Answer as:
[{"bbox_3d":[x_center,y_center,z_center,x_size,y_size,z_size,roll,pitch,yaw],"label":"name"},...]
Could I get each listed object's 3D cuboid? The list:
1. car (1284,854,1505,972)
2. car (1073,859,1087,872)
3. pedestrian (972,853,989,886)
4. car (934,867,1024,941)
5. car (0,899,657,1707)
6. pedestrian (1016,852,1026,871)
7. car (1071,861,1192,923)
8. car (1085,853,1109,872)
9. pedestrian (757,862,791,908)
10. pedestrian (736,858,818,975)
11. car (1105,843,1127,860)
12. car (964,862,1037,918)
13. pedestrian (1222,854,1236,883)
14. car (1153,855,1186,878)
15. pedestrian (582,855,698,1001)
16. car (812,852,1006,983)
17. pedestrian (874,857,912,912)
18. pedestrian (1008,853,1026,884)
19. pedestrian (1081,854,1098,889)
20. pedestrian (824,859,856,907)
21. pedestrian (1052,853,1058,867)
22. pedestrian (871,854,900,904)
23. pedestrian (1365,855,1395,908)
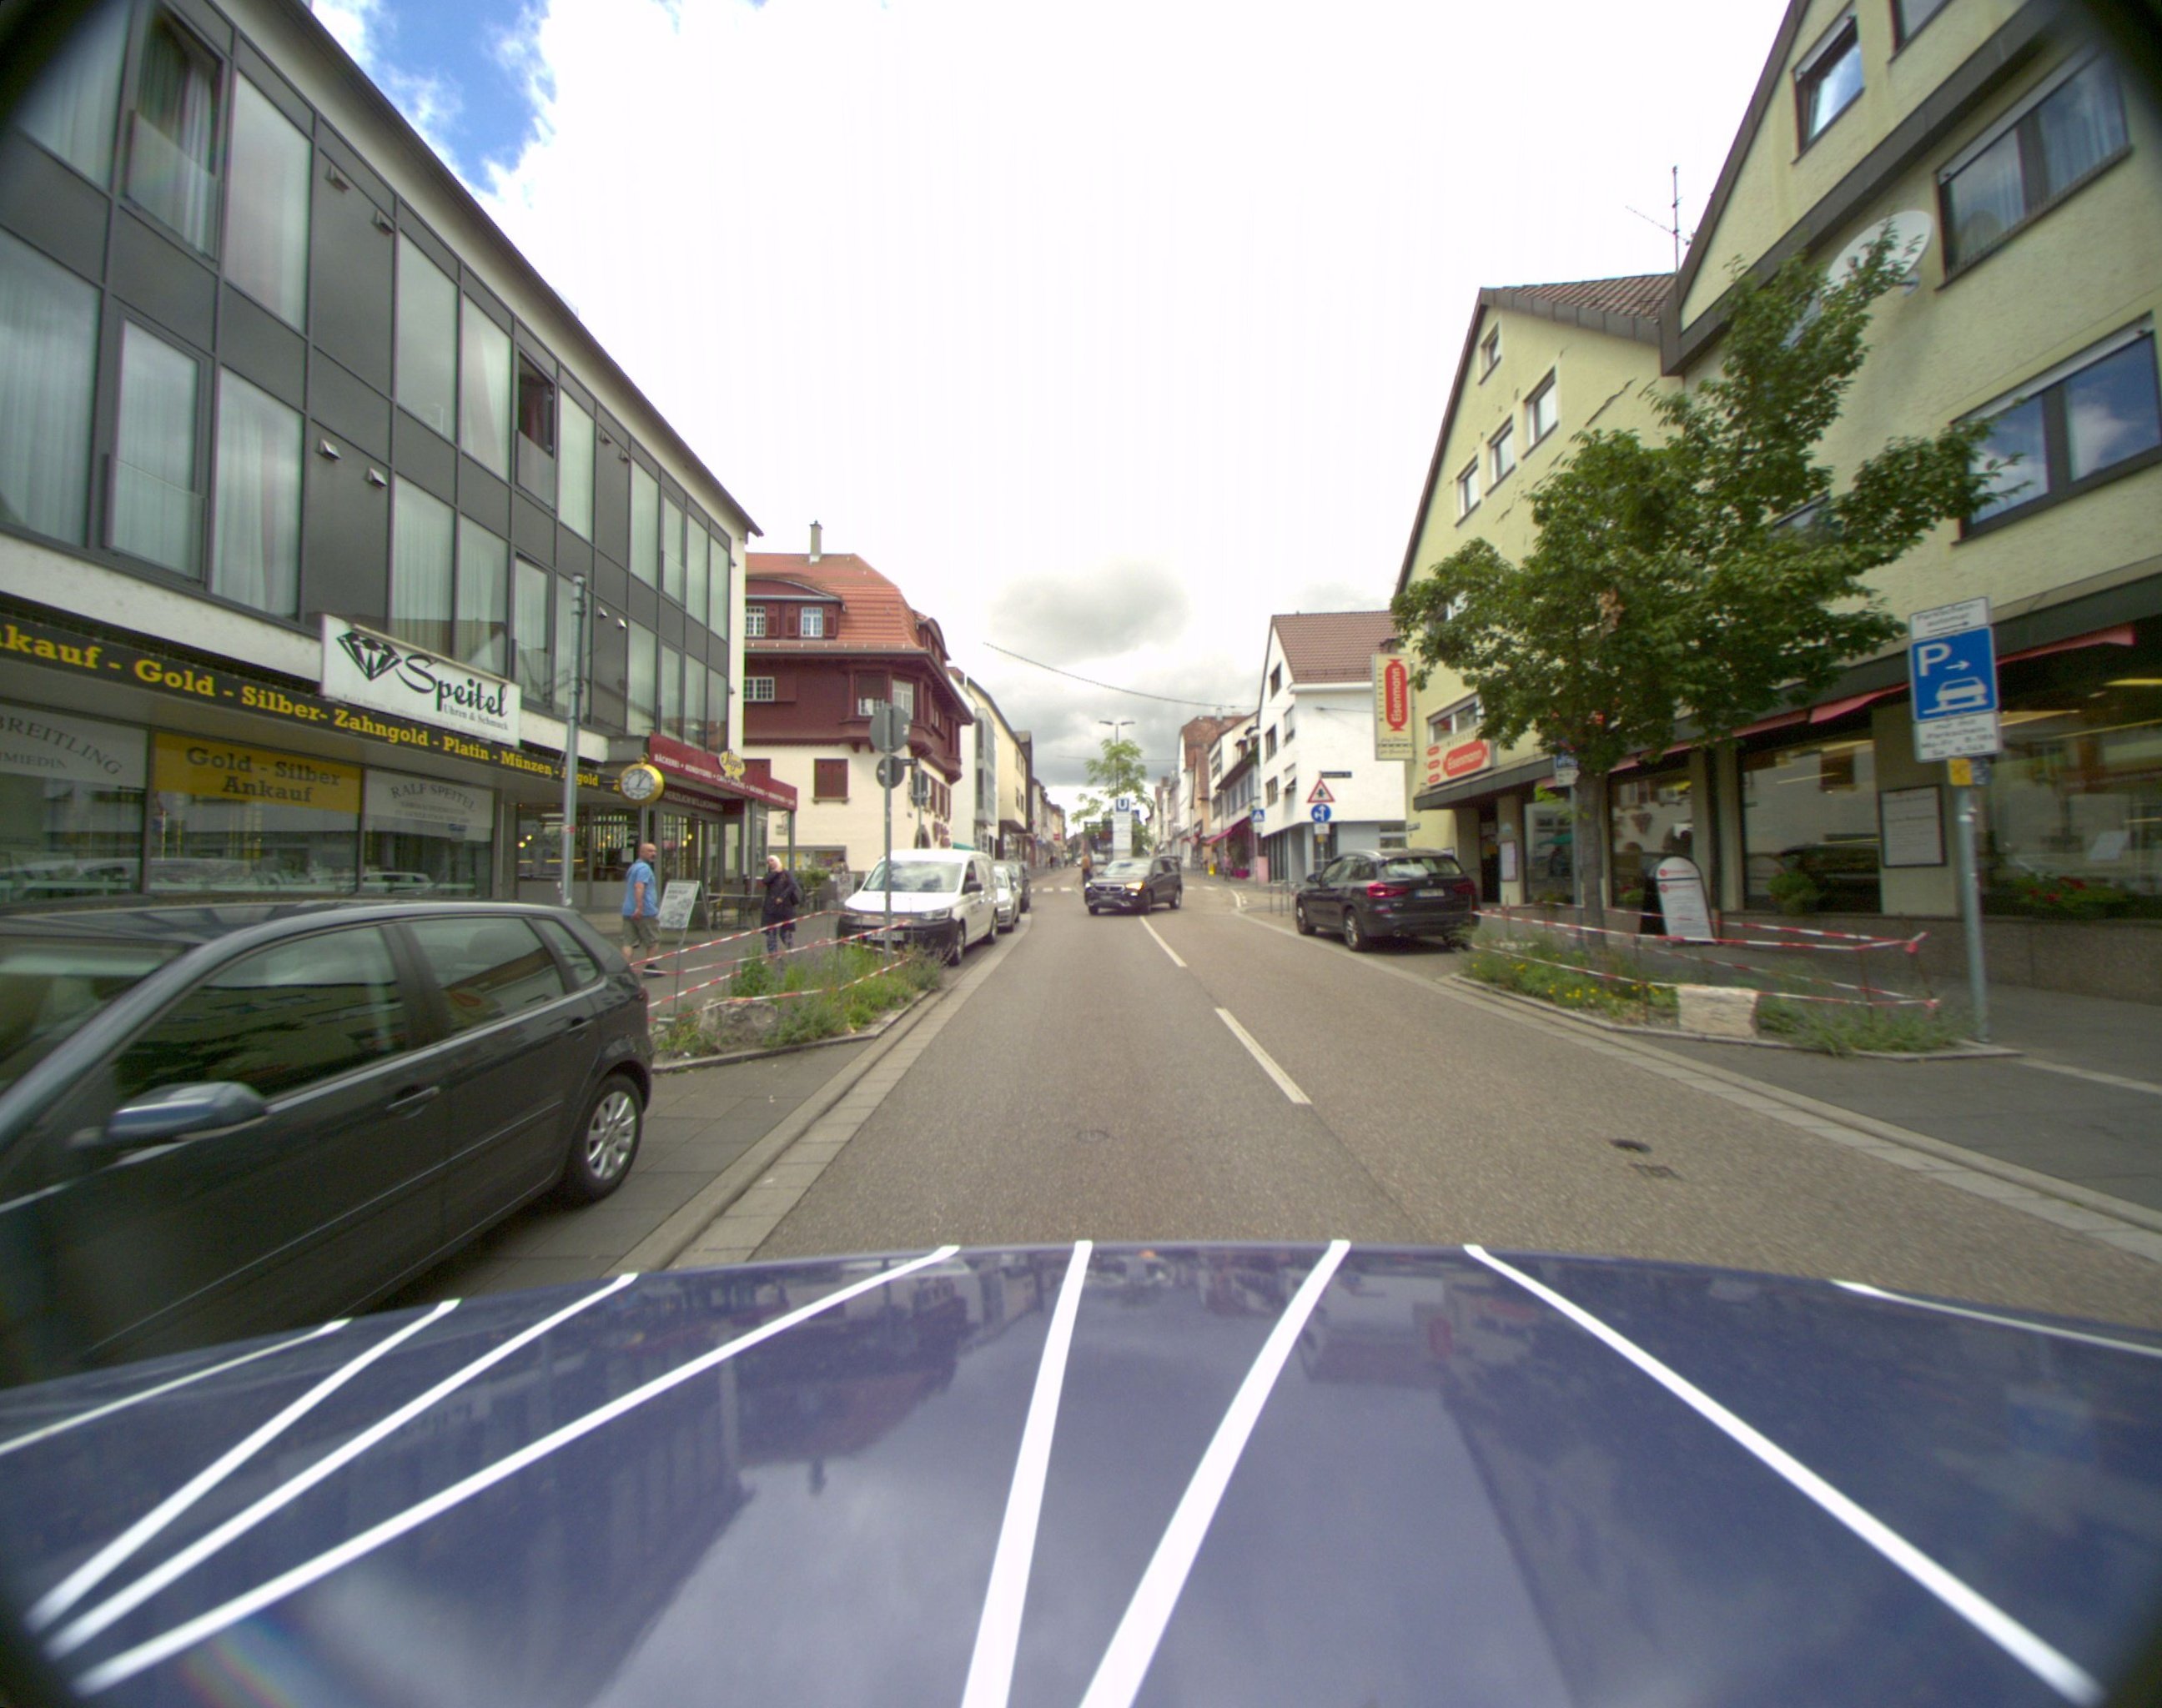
[{"bbox_3d":[5.311,0.902,13.680,2.012,1.683,4.607,-2,-1,0],"label":"car"},{"bbox_3d":[-0.169,1.711,114.020,1.998,2.002,4.000,-1,0,1],"label":"car"},{"bbox_3d":[-5.479,0.851,41.477,0.701,1.756,0.627,0,1,26],"label":"pedestrian"},{"bbox_3d":[-2.288,1.077,17.909,1.707,1.459,3.999,0,0,-2],"label":"car"},{"bbox_3d":[-3.012,0.993,1.972,1.753,1.500,3.873,1,0,-2],"label":"car"},{"bbox_3d":[-5.323,0.646,67.170,0.759,1.663,0.780,2,0,-1],"label":"pedestrian"},{"bbox_3d":[1.604,1.020,22.357,1.910,1.560,4.380,0,0,28],"label":"car"},{"bbox_3d":[1.426,0.737,69.596,1.999,1.557,4.431,-2,0,-1],"label":"car"},{"bbox_3d":[-10.562,1.070,26.155,0.725,1.522,0.808,2,1,7],"label":"pedestrian"},{"bbox_3d":[-4.481,0.896,11.252,0.825,1.656,0.802,-1,1,7],"label":"pedestrian"},{"bbox_3d":[3.489,-0.219,75.621,1.998,1.580,4.495,-2,0,1],"label":"car"},{"bbox_3d":[-2.492,1.087,24.471,1.808,1.546,3.954,-2,0,1],"label":"car"},{"bbox_3d":[8.798,0.862,45.064,0.696,1.730,0.825,-1,0,3],"label":"pedestrian"},{"bbox_3d":[6.529,0.909,56.408,1.968,1.611,4.355,0,0,0],"label":"car"},{"bbox_3d":[-5.475,0.882,9.506,0.798,1.717,1.053,0,1,1],"label":"pedestrian"},{"bbox_3d":[-2.624,0.885,12.883,1.881,1.789,4.733,-1,0,4],"label":"car"},{"bbox_3d":[-5.930,0.952,23.980,0.865,1.697,0.945,-1,1,7],"label":"pedestrian"},{"bbox_3d":[-3.666,0.834,43.596,0.987,1.777,0.919,-1,0,-4],"label":"pedestrian"},{"bbox_3d":[0.429,0.890,39.530,0.676,1.791,0.787,-1,1,-12],"label":"pedestrian"},{"bbox_3d":[-8.429,0.994,26.591,0.774,1.636,0.870,0,1,7],"label":"pedestrian"},{"bbox_3d":[-3.270,0.769,94.593,0.663,1.696,0.780,-1,0,-1],"label":"pedestrian"},{"bbox_3d":[-7.100,0.896,27.654,0.776,1.759,0.817,-1,1,2],"label":"pedestrian"},{"bbox_3d":[9.970,0.915,25.345,0.638,1.728,0.835,0,1,-2],"label":"pedestrian"}]
